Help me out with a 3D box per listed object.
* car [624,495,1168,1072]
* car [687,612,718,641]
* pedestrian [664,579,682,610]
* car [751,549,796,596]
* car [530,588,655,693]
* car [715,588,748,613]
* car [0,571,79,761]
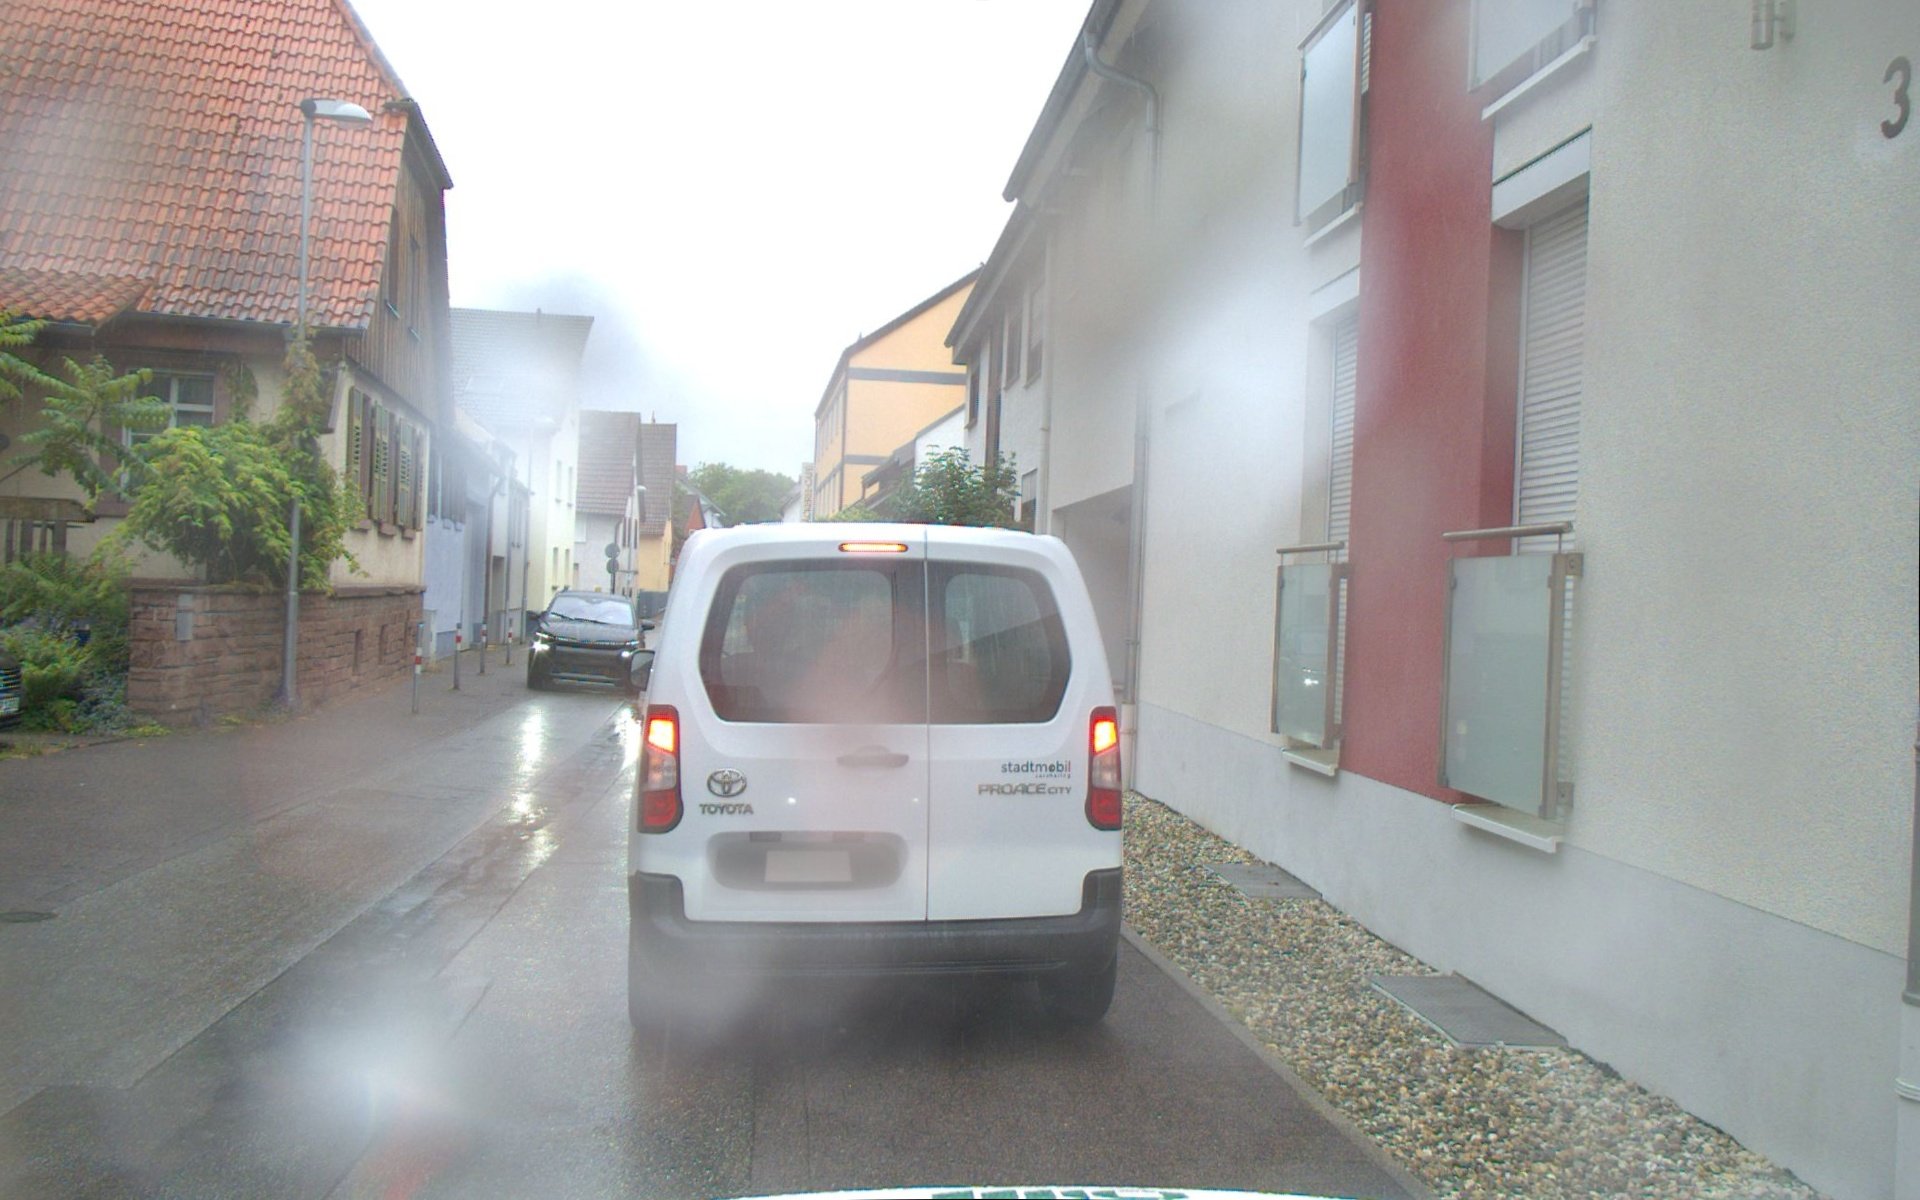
[{"bbox_3d":[-0.492,0.595,7.322,1.742,1.811,3.991,1,0,-9],"label":"car"},{"bbox_3d":[-13.775,1.390,88.279,1.532,1.503,3.990,1,0,-10],"label":"car"},{"bbox_3d":[-17.858,-0.349,102.824,1.031,1.926,0.875,1,-1,-9],"label":"pedestrian"},{"bbox_3d":[-8.568,-1.239,76.158,1.955,2.049,3.995,1,0,-6],"label":"car"},{"bbox_3d":[-6.152,0.631,28.074,1.799,1.583,4.229,2,0,-10],"label":"car"},{"bbox_3d":[-13.704,0.019,99.065,1.747,1.419,3.990,1,0,-10],"label":"car"},{"bbox_3d":[-9.398,0.312,12.952,3.908,1.450,1.735,7,-1,-1],"label":"car"}]
